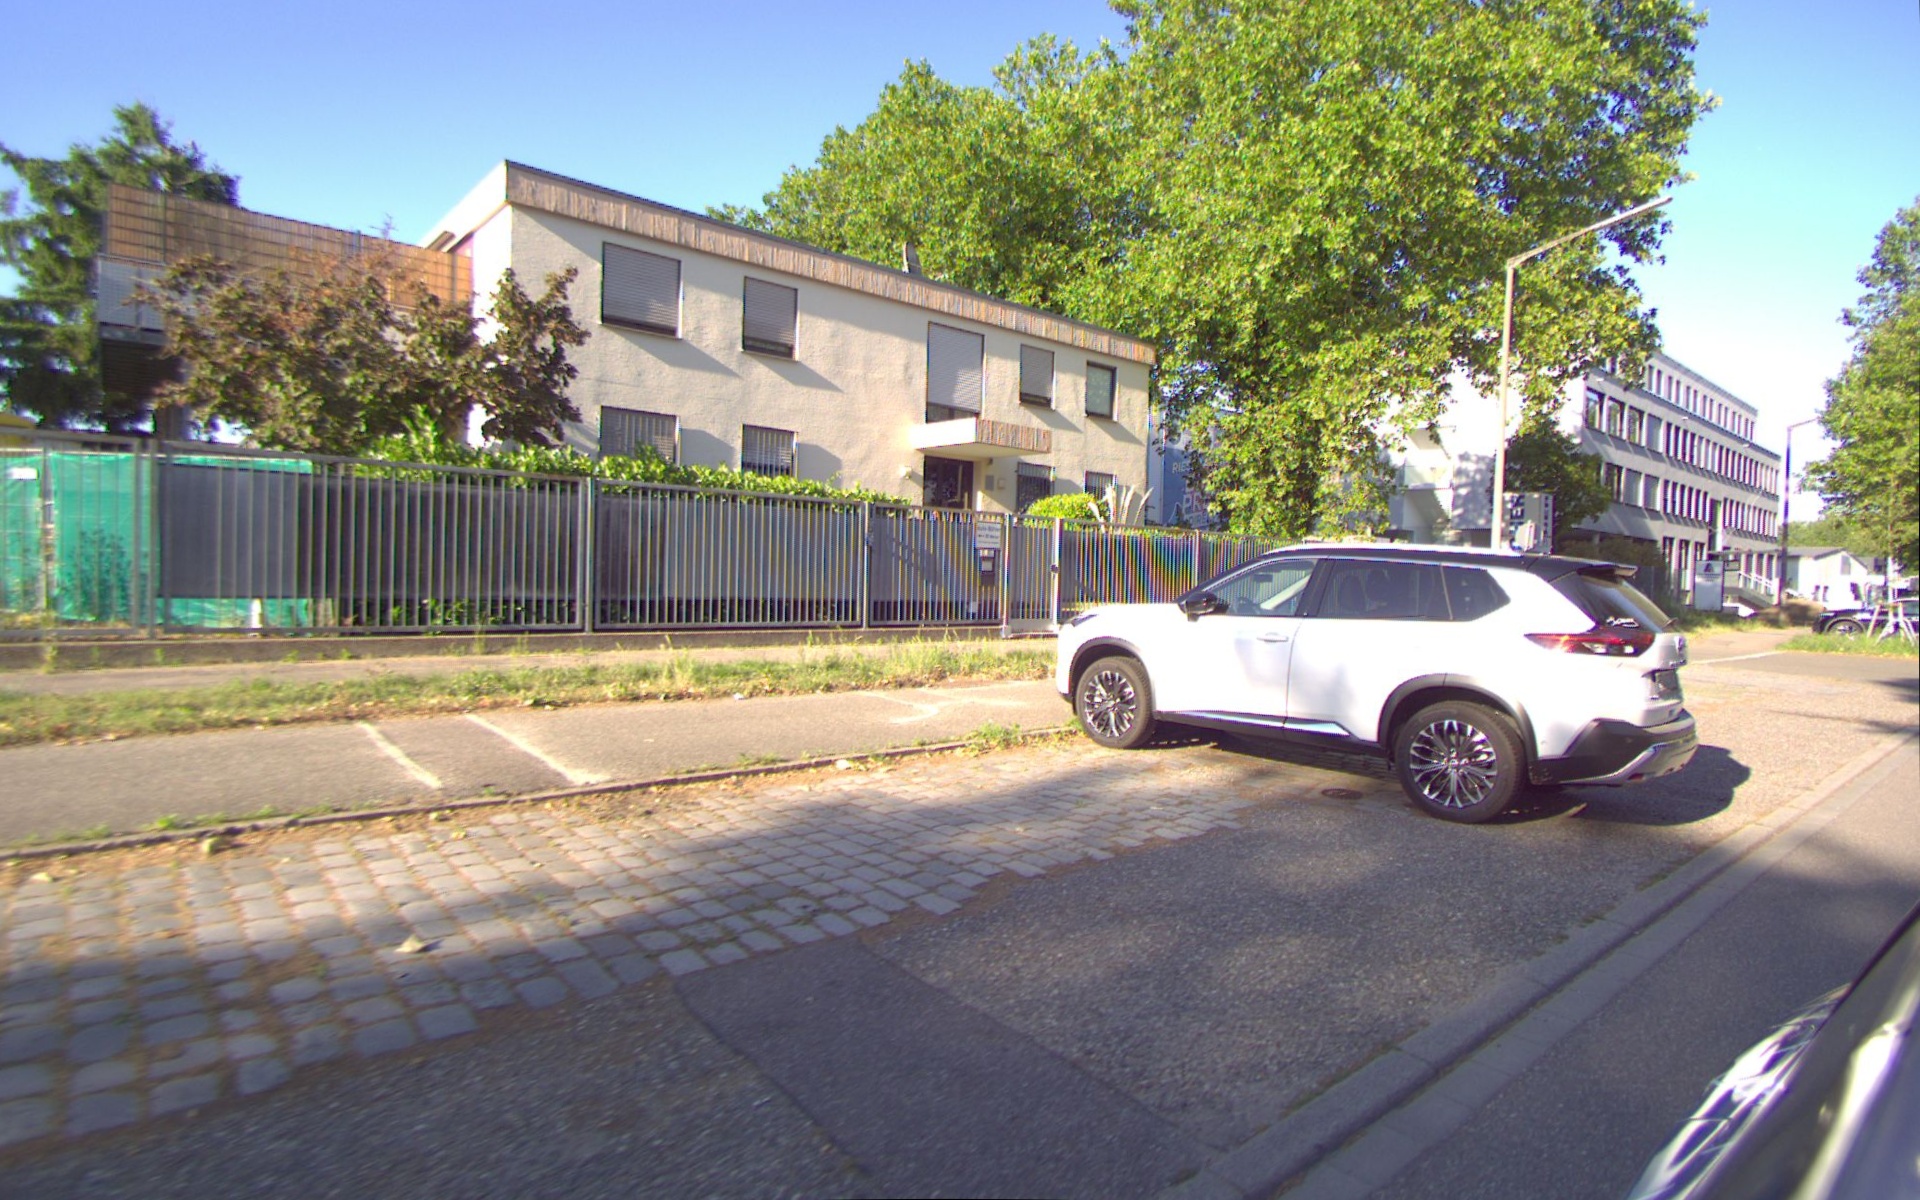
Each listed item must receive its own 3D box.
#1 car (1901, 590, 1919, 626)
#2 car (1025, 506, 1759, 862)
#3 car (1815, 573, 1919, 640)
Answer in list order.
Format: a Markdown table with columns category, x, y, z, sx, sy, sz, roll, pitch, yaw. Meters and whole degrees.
| category | x | y | z | sx | sy | sz | roll | pitch | yaw |
| --- | --- | --- | --- | --- | --- | --- | --- | --- | --- |
| car | 42.560 | 0.451 | 42.815 | 1.829 | 1.504 | 3.792 | 0 | 4 | -42 |
| car | 2.875 | 0.280 | 7.671 | 1.966 | 1.732 | 4.635 | 0 | 6 | -42 |
| car | 28.410 | 0.264 | 29.857 | 1.911 | 1.735 | 4.577 | 0 | 6 | -44 |
